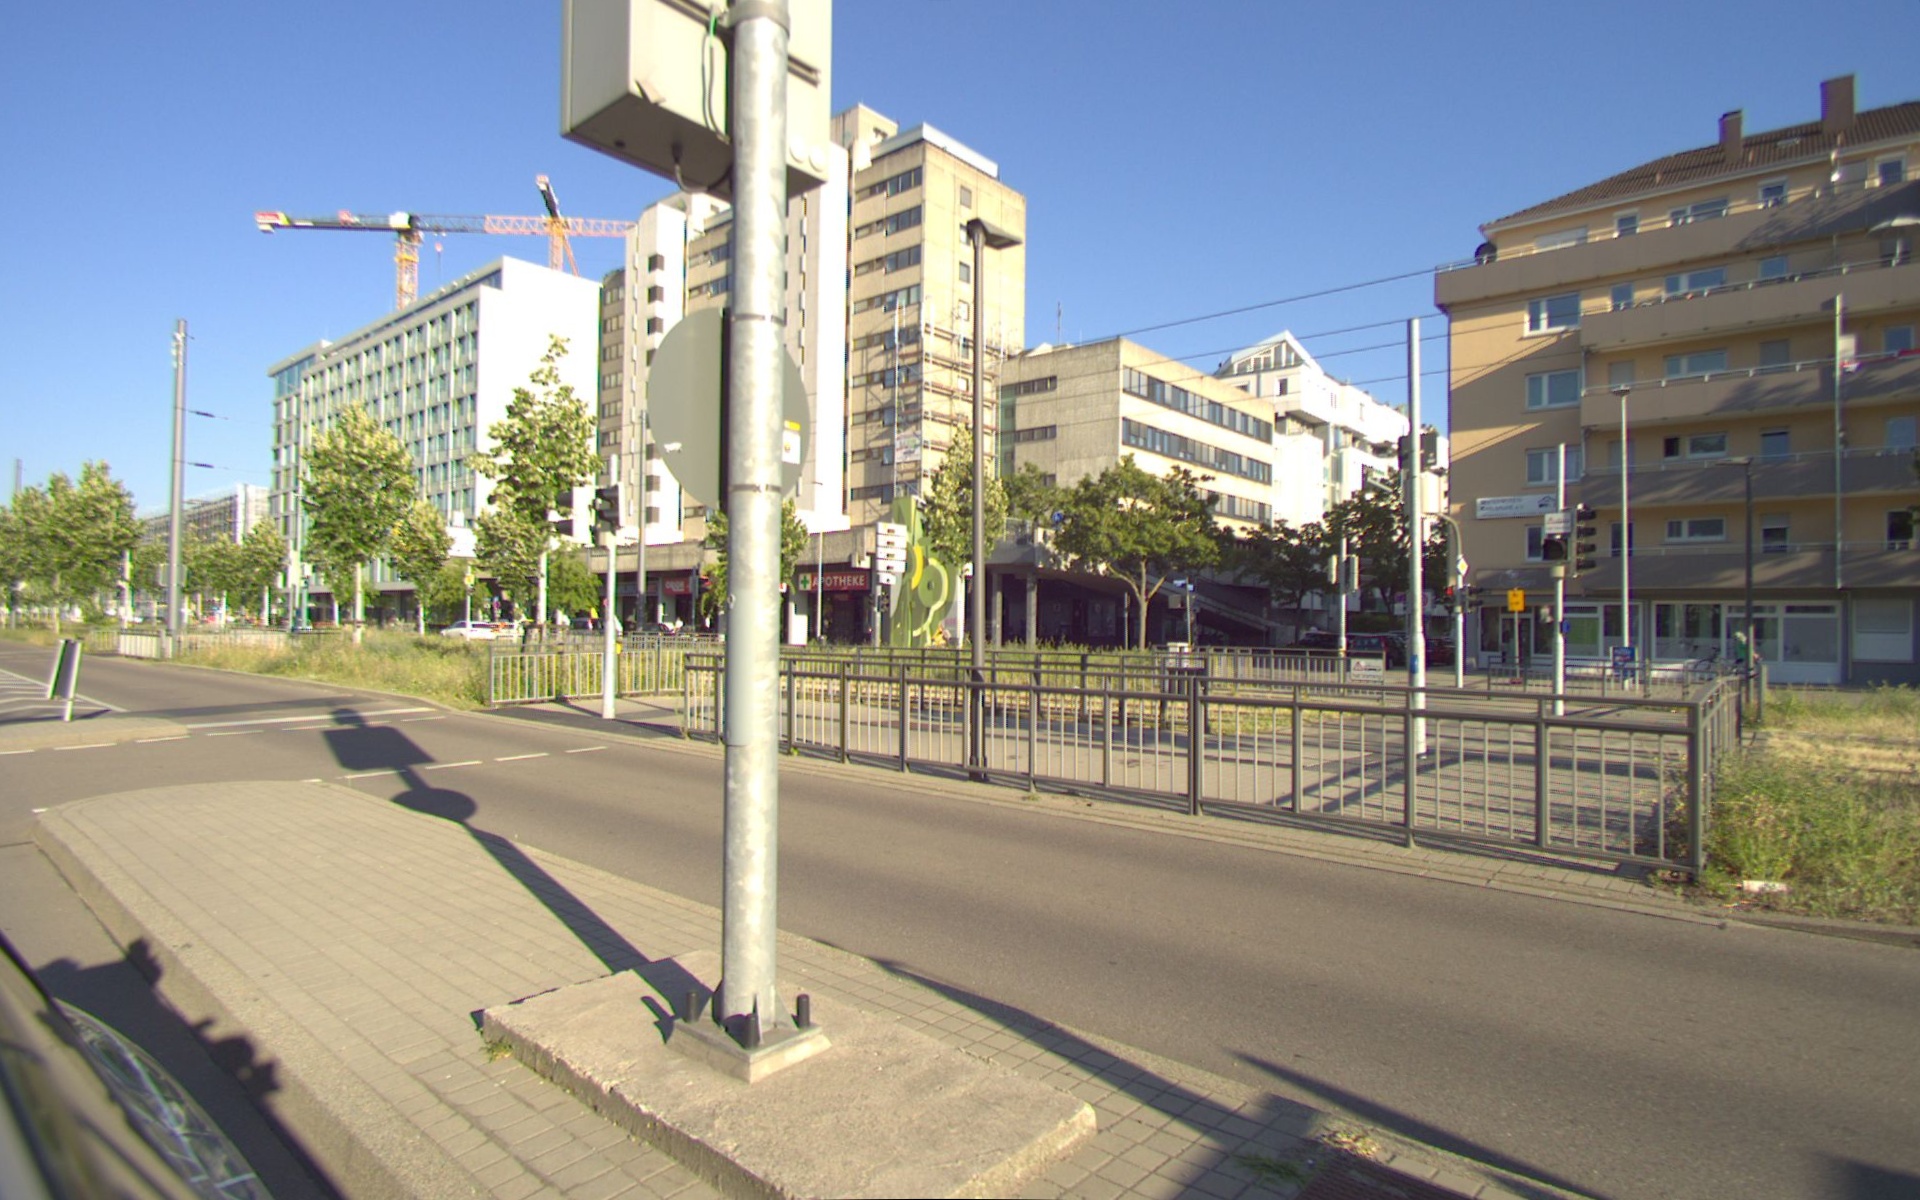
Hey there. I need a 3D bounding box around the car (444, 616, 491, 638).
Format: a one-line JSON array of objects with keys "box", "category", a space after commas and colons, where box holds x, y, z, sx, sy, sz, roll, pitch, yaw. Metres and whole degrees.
[{"box": [-36.903, 1.983, 75.967, 1.597, 1.455, 4.552, 0, 0, -5], "category": "car"}]

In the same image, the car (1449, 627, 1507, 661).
[{"box": [28.610, 2.390, 55.861, 1.999, 1.756, 3.946, -1, -2, 41], "category": "car"}]

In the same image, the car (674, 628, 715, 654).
[{"box": [-14.898, 2.265, 56.891, 1.597, 1.283, 3.469, 0, 0, -3], "category": "car"}]

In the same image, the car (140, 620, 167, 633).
[{"box": [-101.871, 3.340, 127.845, 4.637, 1.600, 1.850, 0, 1, 41], "category": "car"}]

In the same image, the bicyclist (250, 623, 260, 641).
[{"box": [-70.993, 3.239, 101.918, 0.918, 1.758, 0.552, -1, -2, 39], "category": "bicyclist"}]

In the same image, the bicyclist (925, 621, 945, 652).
[{"box": [-1.142, 1.640, 45.832, 0.710, 1.405, 0.732, 0, -1, 16], "category": "bicyclist"}]

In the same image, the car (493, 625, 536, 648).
[{"box": [-31.664, 2.595, 72.051, 1.597, 1.455, 3.795, 0, 0, -3], "category": "car"}]

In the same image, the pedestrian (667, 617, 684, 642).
[{"box": [-19.114, 1.965, 67.979, 0.882, 1.652, 0.766, -1, -2, 40], "category": "pedestrian"}]

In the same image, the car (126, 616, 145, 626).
[{"box": [-129.410, 3.277, 158.826, 3.878, 1.388, 1.592, 0, 1, 41], "category": "car"}]

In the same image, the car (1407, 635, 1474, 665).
[{"box": [23.347, 2.392, 49.154, 1.999, 1.313, 3.946, -1, -1, 41], "category": "car"}]

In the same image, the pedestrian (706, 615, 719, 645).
[{"box": [-16.893, 2.063, 69.128, 0.654, 2.029, 0.542, -1, -2, 40], "category": "pedestrian"}]

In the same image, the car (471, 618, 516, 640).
[{"box": [-33.968, 2.063, 73.761, 1.763, 1.455, 3.806, 0, 0, -5], "category": "car"}]

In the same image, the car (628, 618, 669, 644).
[{"box": [-18.869, 1.843, 61.437, 1.597, 1.412, 3.469, 0, 0, -3], "category": "car"}]

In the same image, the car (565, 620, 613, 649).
[{"box": [-24.048, 2.199, 65.670, 1.598, 1.703, 4.196, 0, 0, 0], "category": "car"}]

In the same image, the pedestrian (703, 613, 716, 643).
[{"box": [-16.681, 1.854, 67.444, 0.654, 2.029, 0.542, -1, -2, 40], "category": "pedestrian"}]

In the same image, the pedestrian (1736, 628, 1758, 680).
[{"box": [24.441, 1.670, 31.433, 0.520, 1.567, 0.442, -1, -2, 40], "category": "pedestrian"}]

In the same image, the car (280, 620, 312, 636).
[{"box": [-66.451, 2.801, 101.251, 3.388, 1.477, 1.850, 0, 1, 41], "category": "car"}]

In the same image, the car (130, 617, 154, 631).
[{"box": [-111.391, 3.254, 137.760, 4.486, 1.715, 1.850, 0, 1, 41], "category": "car"}]

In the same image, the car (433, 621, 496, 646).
[{"box": [-30.560, 2.038, 62.360, 4.659, 1.474, 1.758, 0, -1, 40], "category": "car"}]

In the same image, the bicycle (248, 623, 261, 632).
[{"box": [-71.125, 2.798, 102.015, 2.101, 0.869, 0.432, 0, -2, 40], "category": "bicycle"}]

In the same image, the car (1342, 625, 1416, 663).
[{"box": [17.958, 1.846, 43.259, 1.846, 1.508, 3.946, 0, -2, 40], "category": "car"}]

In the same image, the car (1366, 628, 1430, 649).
[{"box": [32.889, 2.883, 76.057, 3.999, 1.524, 1.972, -1, -2, 42], "category": "car"}]

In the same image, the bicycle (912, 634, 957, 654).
[{"box": [-1.163, 2.001, 45.981, 2.014, 0.898, 0.504, 0, -1, 18], "category": "bicycle"}]

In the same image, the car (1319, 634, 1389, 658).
[{"box": [26.591, 3.084, 68.343, 3.999, 1.524, 1.972, -1, -2, 42], "category": "car"}]
